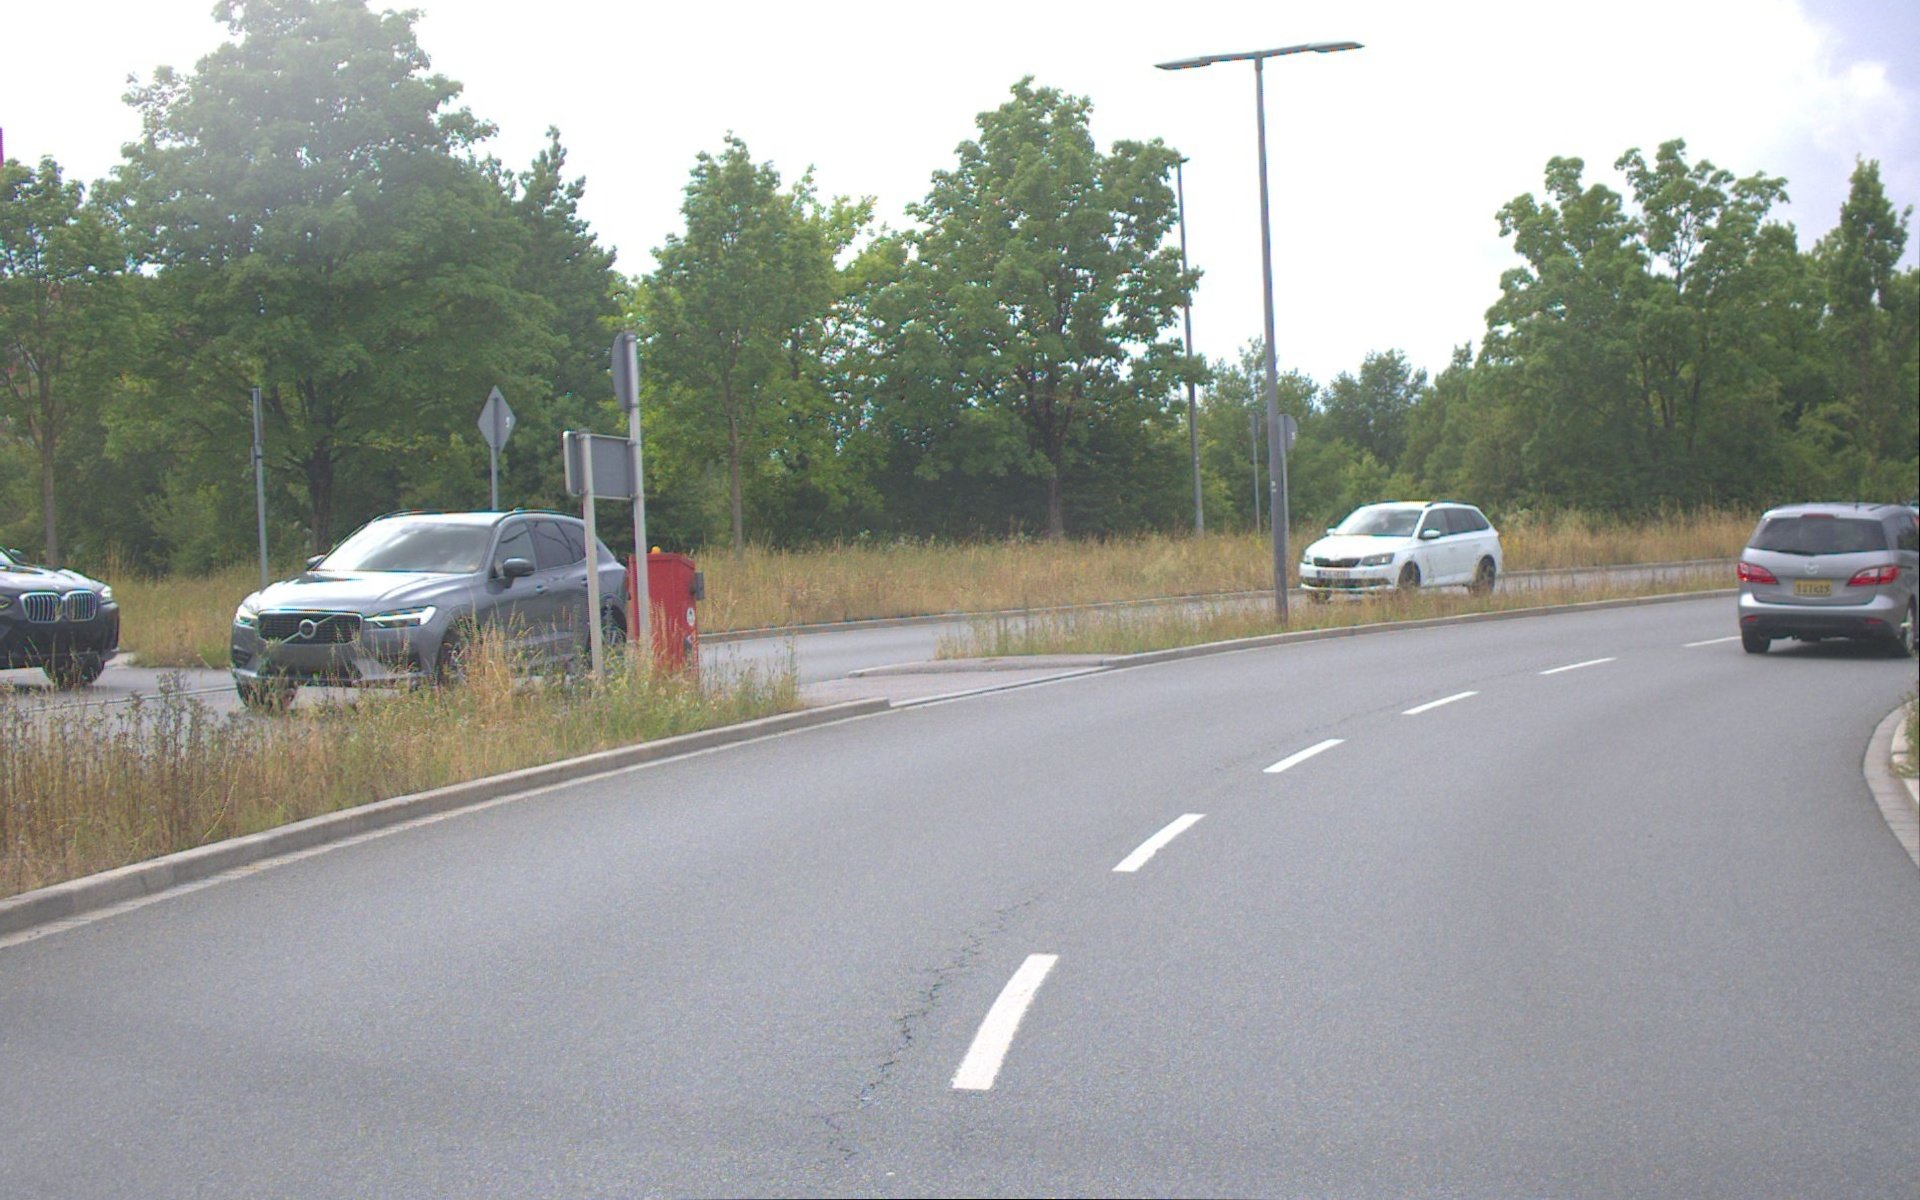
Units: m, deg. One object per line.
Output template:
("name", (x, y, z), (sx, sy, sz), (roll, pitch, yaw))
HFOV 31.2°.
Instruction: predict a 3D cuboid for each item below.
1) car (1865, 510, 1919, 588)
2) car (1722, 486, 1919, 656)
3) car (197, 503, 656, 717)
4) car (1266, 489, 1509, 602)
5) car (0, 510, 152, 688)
("car", (19.555, -1.013, 66.997), (4.083, 1.481, 1.463), (-2, 1, -36))
("car", (9.510, -0.256, 36.939), (1.769, 1.611, 3.916), (-2, -3, 24))
("car", (-4.397, 0.027, 29.139), (1.811, 1.624, 4.682), (1, 2, 20))
("car", (6.499, -0.834, 51.962), (1.719, 1.629, 4.258), (0, 1, 38))
("car", (-9.638, -0.026, 31.722), (4.250, 1.544, 1.870), (0, 1, 35))
